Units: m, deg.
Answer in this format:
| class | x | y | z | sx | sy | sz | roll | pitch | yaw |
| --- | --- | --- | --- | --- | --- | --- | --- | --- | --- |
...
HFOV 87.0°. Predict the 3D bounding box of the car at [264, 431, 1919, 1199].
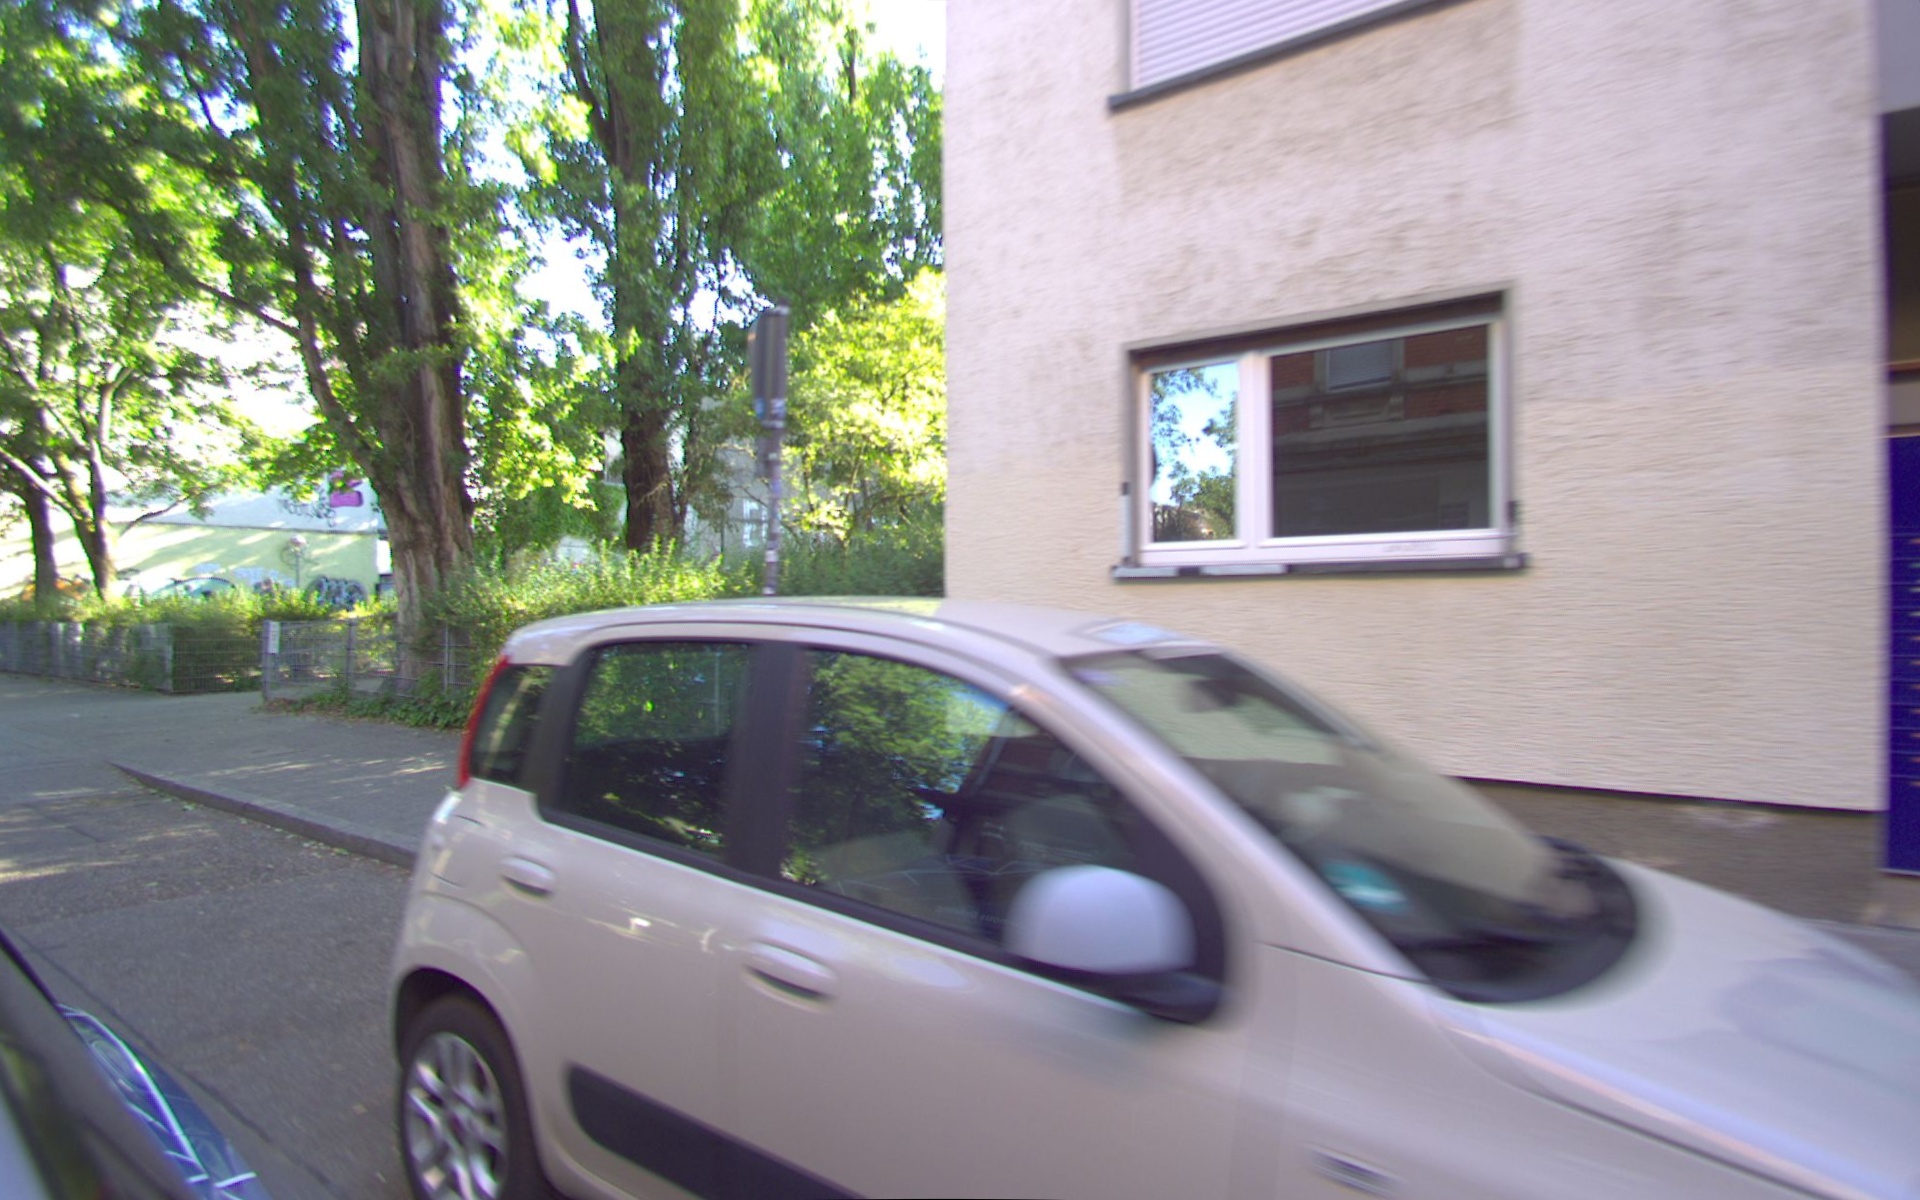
| class | x | y | z | sx | sy | sz | roll | pitch | yaw |
| --- | --- | --- | --- | --- | --- | --- | --- | --- | --- |
| car | 0.196 | 0.649 | 2.325 | 3.859 | 1.551 | 1.661 | 0 | -1 | 34 |
